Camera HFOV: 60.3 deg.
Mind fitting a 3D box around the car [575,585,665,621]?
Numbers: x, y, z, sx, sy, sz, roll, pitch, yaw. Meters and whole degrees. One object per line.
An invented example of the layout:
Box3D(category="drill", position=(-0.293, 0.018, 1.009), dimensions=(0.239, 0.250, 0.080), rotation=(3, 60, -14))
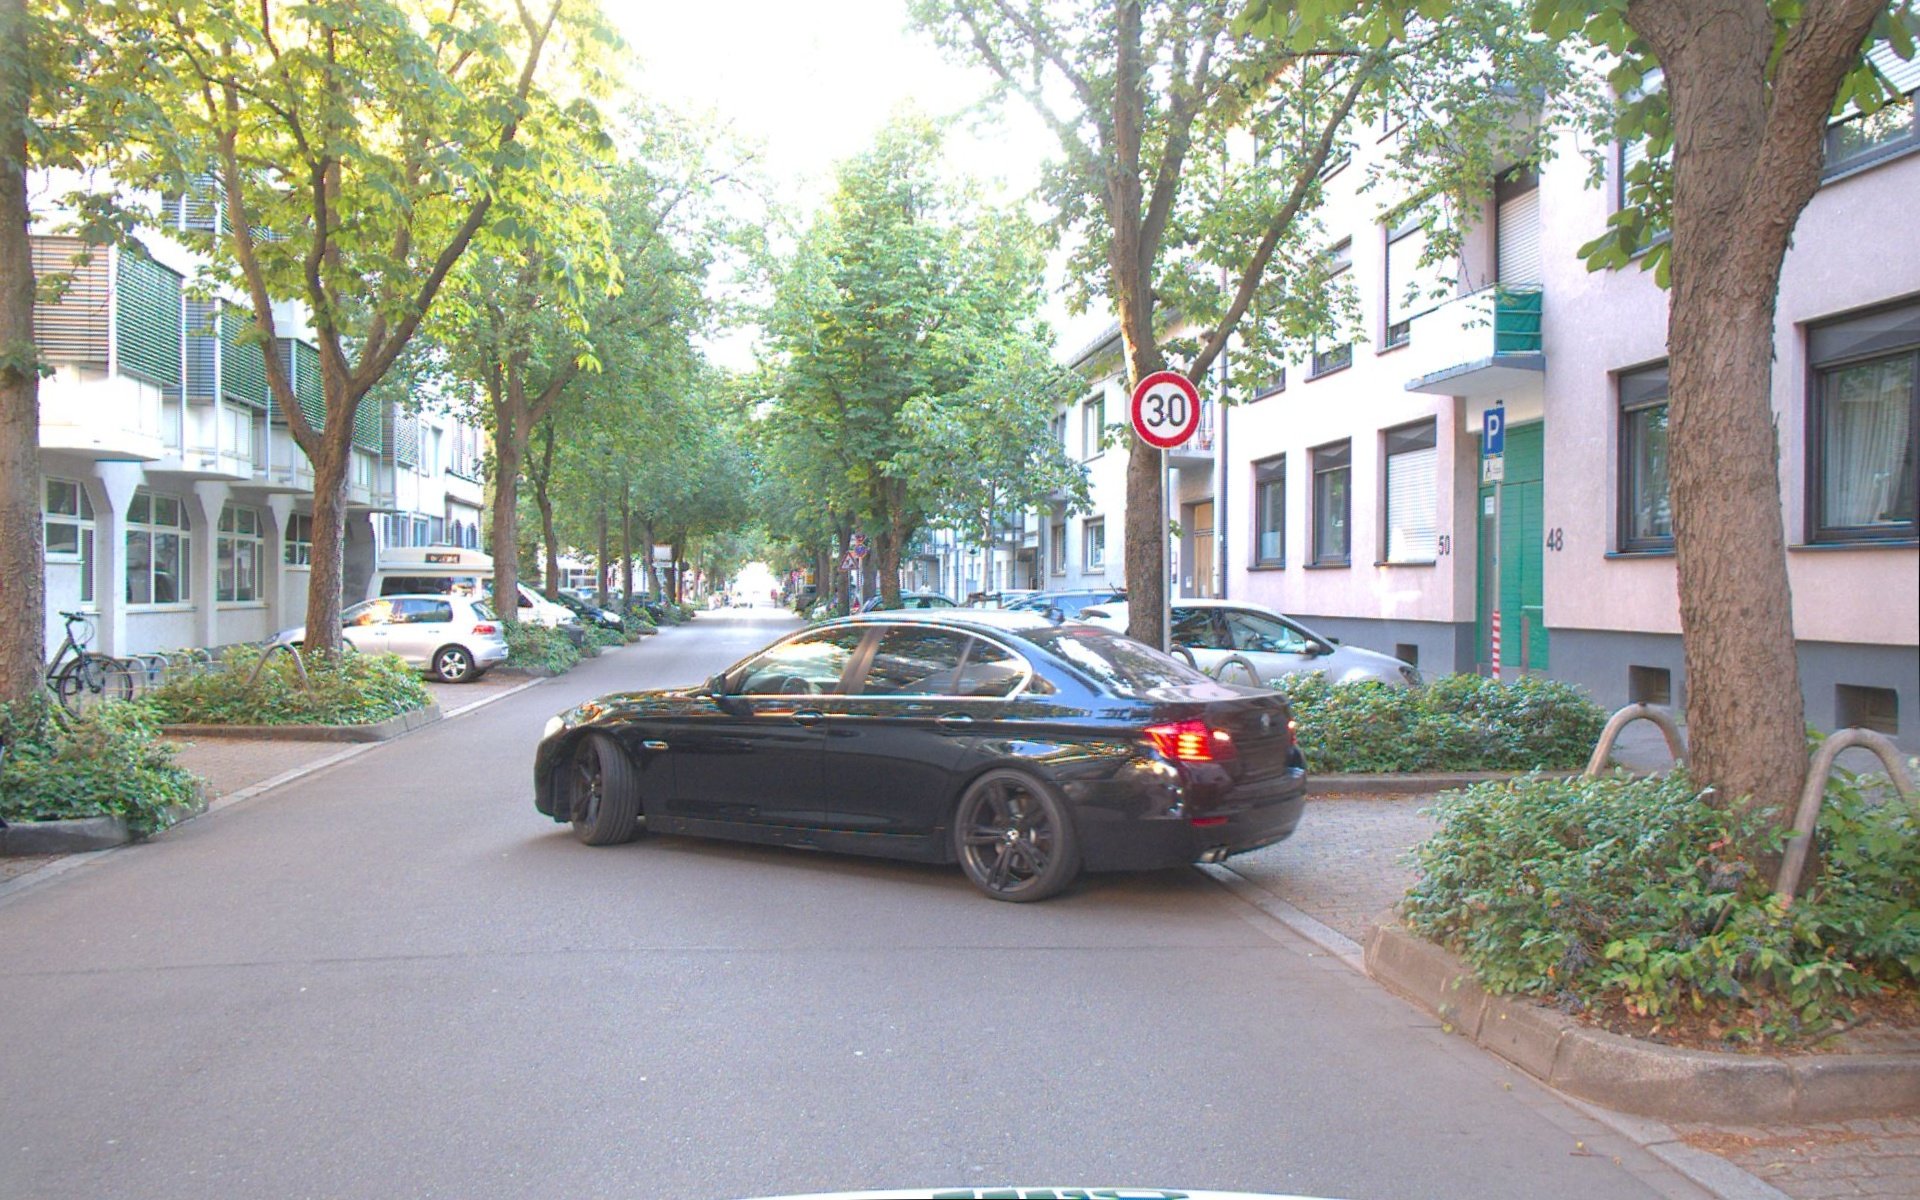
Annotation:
Box3D(category="car", position=(-15.652, 0.141, 76.328), dimensions=(3.891, 1.647, 1.783), rotation=(0, 0, -6))

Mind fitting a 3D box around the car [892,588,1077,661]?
Box3D(category="car", position=(0.510, 0.518, 36.545), dimensions=(3.893, 1.554, 1.782), rotation=(0, 0, -8))

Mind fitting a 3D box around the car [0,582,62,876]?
Box3D(category="car", position=(-7.137, 0.685, 8.263), dimensions=(4.272, 1.544, 1.782), rotation=(0, 0, -7))

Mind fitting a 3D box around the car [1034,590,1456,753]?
Box3D(category="car", position=(2.780, 0.659, 16.504), dimensions=(3.836, 1.502, 1.661), rotation=(0, 0, -9))

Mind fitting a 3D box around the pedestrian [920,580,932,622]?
Box3D(category="pedestrian", position=(-1.680, 0.038, 81.478), dimensions=(0.577, 2.049, 0.669), rotation=(0, 0, -6))

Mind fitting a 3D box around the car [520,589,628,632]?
Box3D(category="car", position=(-15.045, 0.413, 64.668), dimensions=(3.891, 1.647, 1.783), rotation=(0, 0, -6))

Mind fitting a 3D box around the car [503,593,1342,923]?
Box3D(category="car", position=(-0.334, 0.714, 9.580), dimensions=(4.659, 1.506, 1.796), rotation=(0, 0, 32))

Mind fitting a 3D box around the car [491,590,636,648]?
Box3D(category="car", position=(-11.525, 0.540, 48.254), dimensions=(3.891, 1.647, 1.783), rotation=(0, 0, -6))

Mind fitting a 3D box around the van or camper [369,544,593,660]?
Box3D(category="van or camper", position=(-10.705, 0.032, 37.277), dimensions=(4.575, 2.521, 1.997), rotation=(0, 0, -7))

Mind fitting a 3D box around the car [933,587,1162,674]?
Box3D(category="car", position=(1.549, 0.529, 30.105), dimensions=(3.894, 1.502, 1.781), rotation=(0, 0, -9))

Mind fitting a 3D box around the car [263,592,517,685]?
Box3D(category="car", position=(-9.896, 0.646, 28.974), dimensions=(3.891, 1.544, 1.783), rotation=(0, 0, -6))

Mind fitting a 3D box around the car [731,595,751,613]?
Box3D(category="car", position=(-20.059, 0.377, 151.546), dimensions=(1.745, 1.589, 4.162), rotation=(0, 0, -6))

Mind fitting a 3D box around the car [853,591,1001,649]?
Box3D(category="car", position=(-0.941, 0.526, 45.333), dimensions=(3.893, 1.554, 1.782), rotation=(0, 0, -8))

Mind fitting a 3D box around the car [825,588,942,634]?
Box3D(category="car", position=(-2.661, 0.352, 57.173), dimensions=(3.894, 1.554, 1.782), rotation=(0, 0, -9))

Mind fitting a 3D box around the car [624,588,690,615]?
Box3D(category="car", position=(-18.833, 0.063, 103.016), dimensions=(3.891, 1.647, 1.783), rotation=(0, 0, -6))

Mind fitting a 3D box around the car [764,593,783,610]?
Box3D(category="car", position=(-17.836, 0.147, 158.179), dimensions=(1.787, 1.557, 3.995), rotation=(0, 0, -6))

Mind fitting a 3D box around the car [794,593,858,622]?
Box3D(category="car", position=(-8.200, 0.451, 101.039), dimensions=(3.891, 1.713, 1.783), rotation=(0, 0, -6))

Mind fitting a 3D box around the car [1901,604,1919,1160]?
Box3D(category="car", position=(4.268, 0.702, 3.707), dimensions=(3.545, 1.387, 1.660), rotation=(0, 0, -11))
